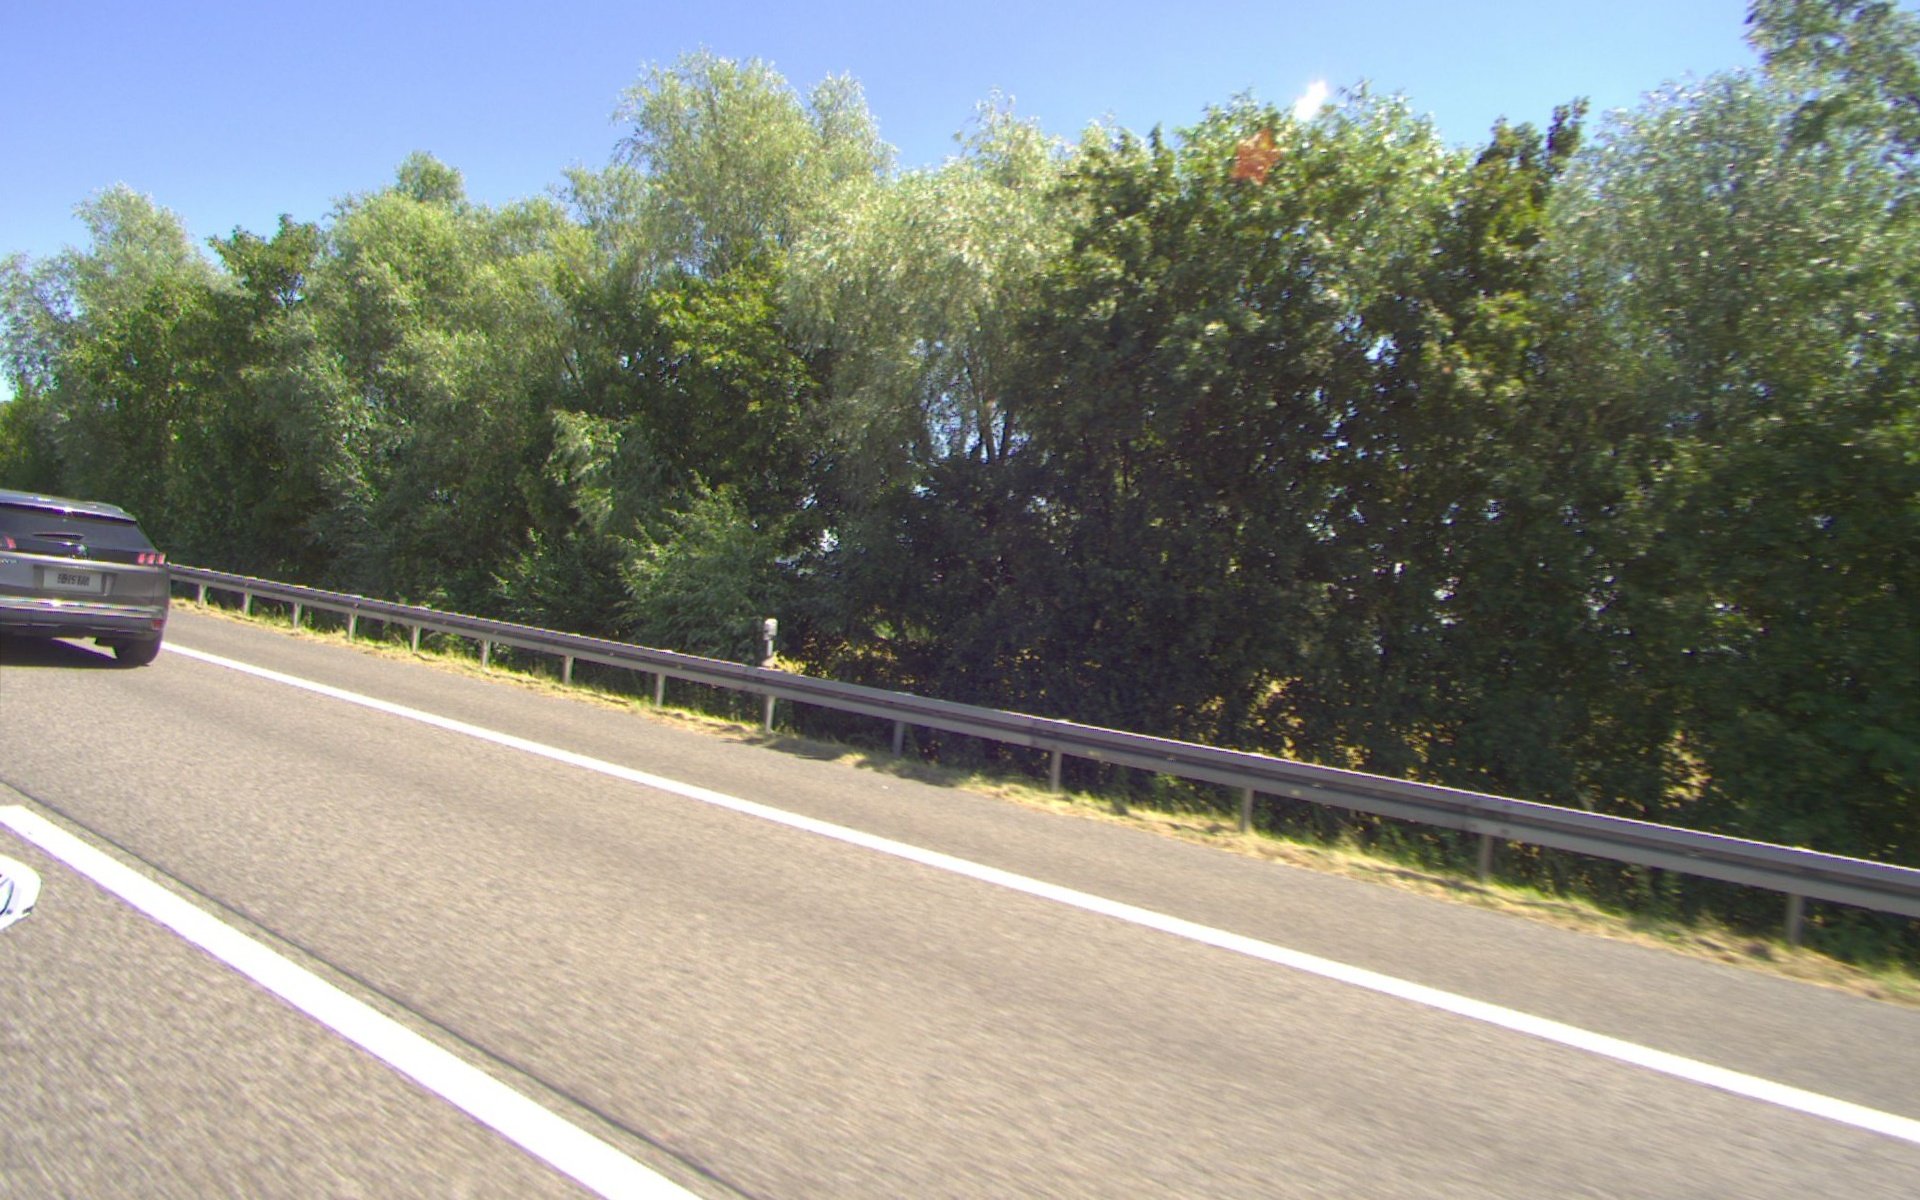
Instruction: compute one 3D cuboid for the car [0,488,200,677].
[{"bbox_3d":[-9.975,-0.323,10.483,4.066,1.648,1.848,7,-1,32],"label":"car"}]
